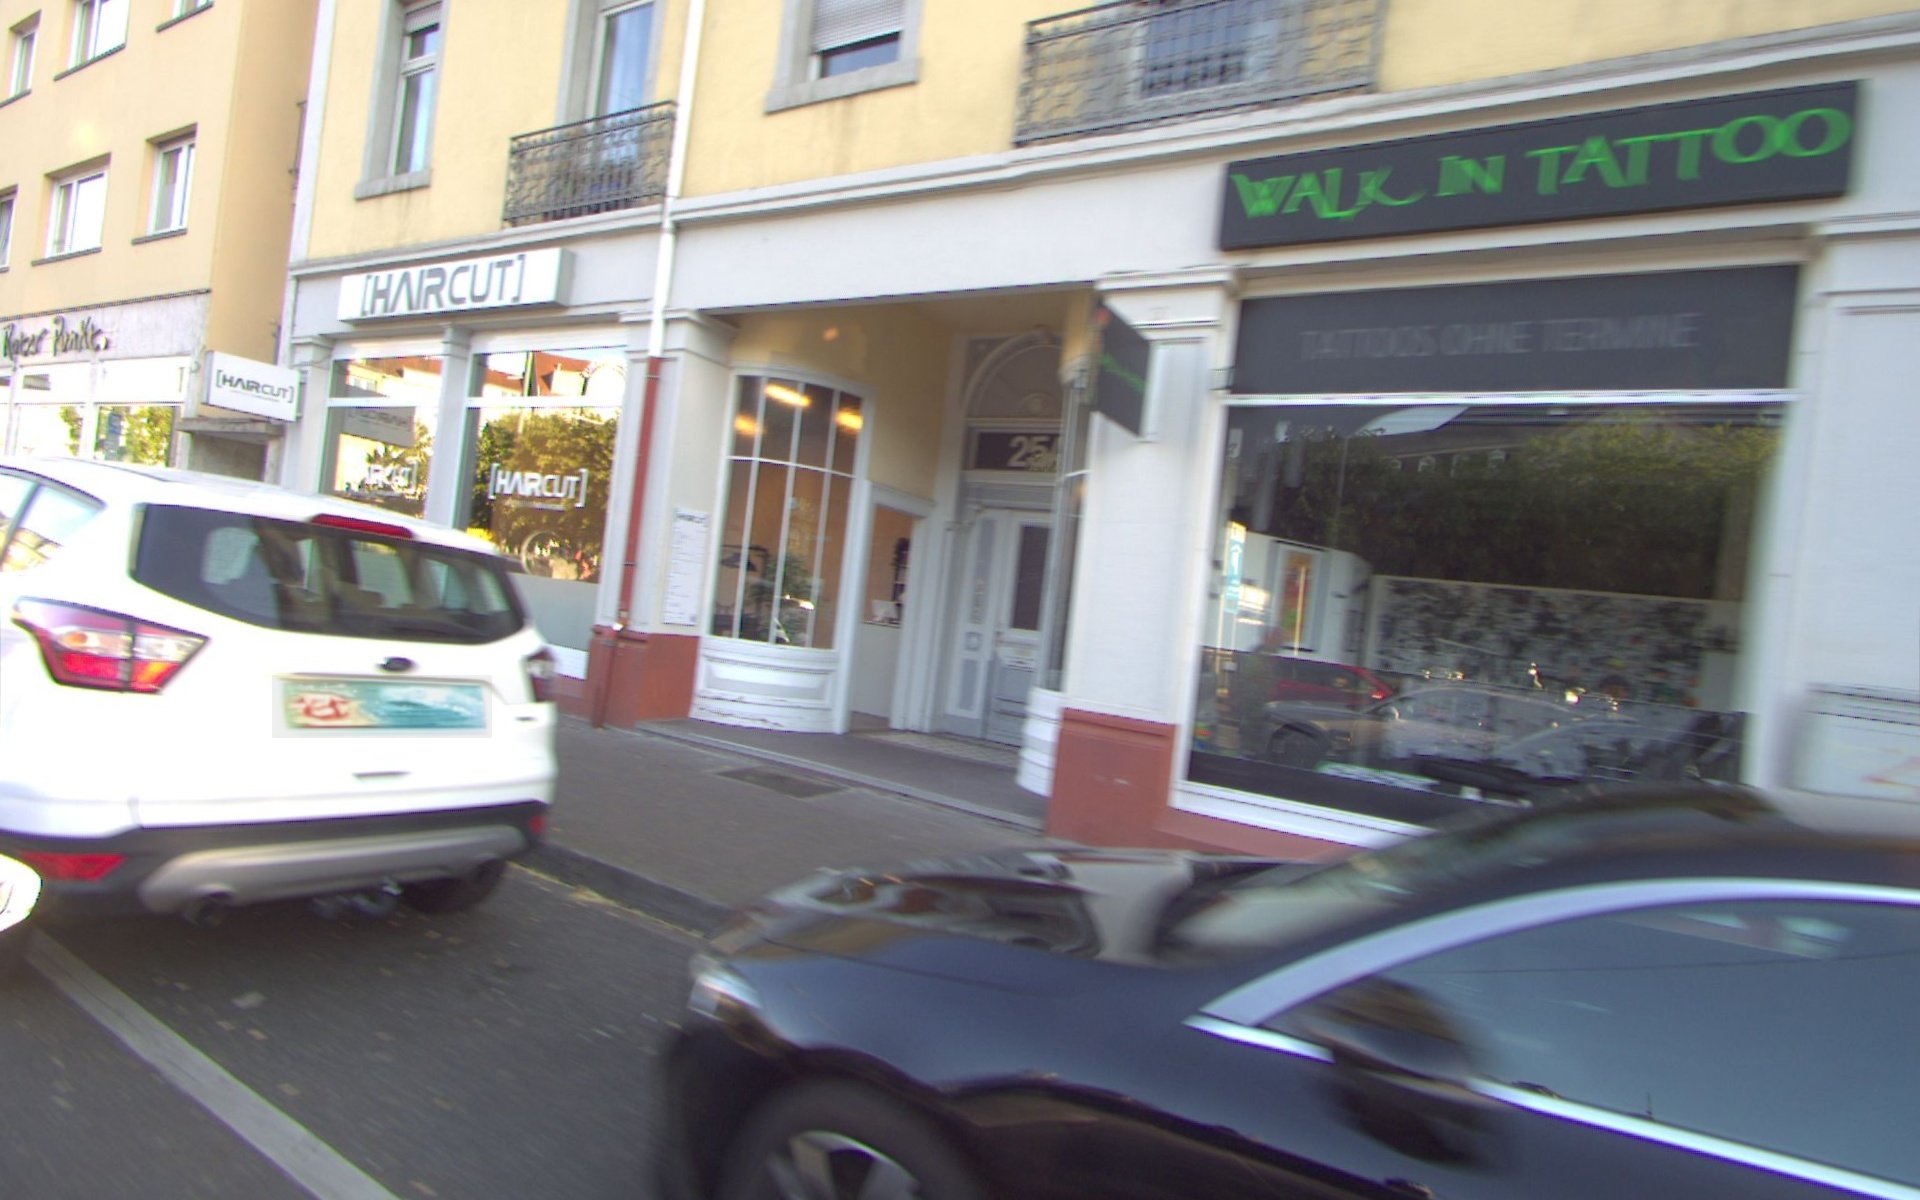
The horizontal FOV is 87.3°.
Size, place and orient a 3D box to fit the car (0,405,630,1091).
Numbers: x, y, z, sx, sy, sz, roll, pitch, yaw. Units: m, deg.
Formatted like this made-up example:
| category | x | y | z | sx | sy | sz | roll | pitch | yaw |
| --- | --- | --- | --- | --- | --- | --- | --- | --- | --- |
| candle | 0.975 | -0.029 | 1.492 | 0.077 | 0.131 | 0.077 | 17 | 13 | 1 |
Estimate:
| category | x | y | z | sx | sy | sz | roll | pitch | yaw |
| --- | --- | --- | --- | --- | --- | --- | --- | --- | --- |
| car | -3.605 | 0.273 | 4.260 | 4.214 | 1.669 | 1.734 | 6 | -3 | 32 |

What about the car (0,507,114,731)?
| category | x | y | z | sx | sy | sz | roll | pitch | yaw |
| --- | --- | --- | --- | --- | --- | --- | --- | --- | --- |
| car | -8.265 | -0.096 | 7.479 | 4.242 | 1.466 | 1.733 | 6 | -3 | 33 |

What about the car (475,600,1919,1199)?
| category | x | y | z | sx | sy | sz | roll | pitch | yaw |
| --- | --- | --- | --- | --- | --- | --- | --- | --- | --- |
| car | 1.302 | 1.024 | 1.804 | 4.400 | 1.464 | 1.734 | 6 | -3 | 32 |
